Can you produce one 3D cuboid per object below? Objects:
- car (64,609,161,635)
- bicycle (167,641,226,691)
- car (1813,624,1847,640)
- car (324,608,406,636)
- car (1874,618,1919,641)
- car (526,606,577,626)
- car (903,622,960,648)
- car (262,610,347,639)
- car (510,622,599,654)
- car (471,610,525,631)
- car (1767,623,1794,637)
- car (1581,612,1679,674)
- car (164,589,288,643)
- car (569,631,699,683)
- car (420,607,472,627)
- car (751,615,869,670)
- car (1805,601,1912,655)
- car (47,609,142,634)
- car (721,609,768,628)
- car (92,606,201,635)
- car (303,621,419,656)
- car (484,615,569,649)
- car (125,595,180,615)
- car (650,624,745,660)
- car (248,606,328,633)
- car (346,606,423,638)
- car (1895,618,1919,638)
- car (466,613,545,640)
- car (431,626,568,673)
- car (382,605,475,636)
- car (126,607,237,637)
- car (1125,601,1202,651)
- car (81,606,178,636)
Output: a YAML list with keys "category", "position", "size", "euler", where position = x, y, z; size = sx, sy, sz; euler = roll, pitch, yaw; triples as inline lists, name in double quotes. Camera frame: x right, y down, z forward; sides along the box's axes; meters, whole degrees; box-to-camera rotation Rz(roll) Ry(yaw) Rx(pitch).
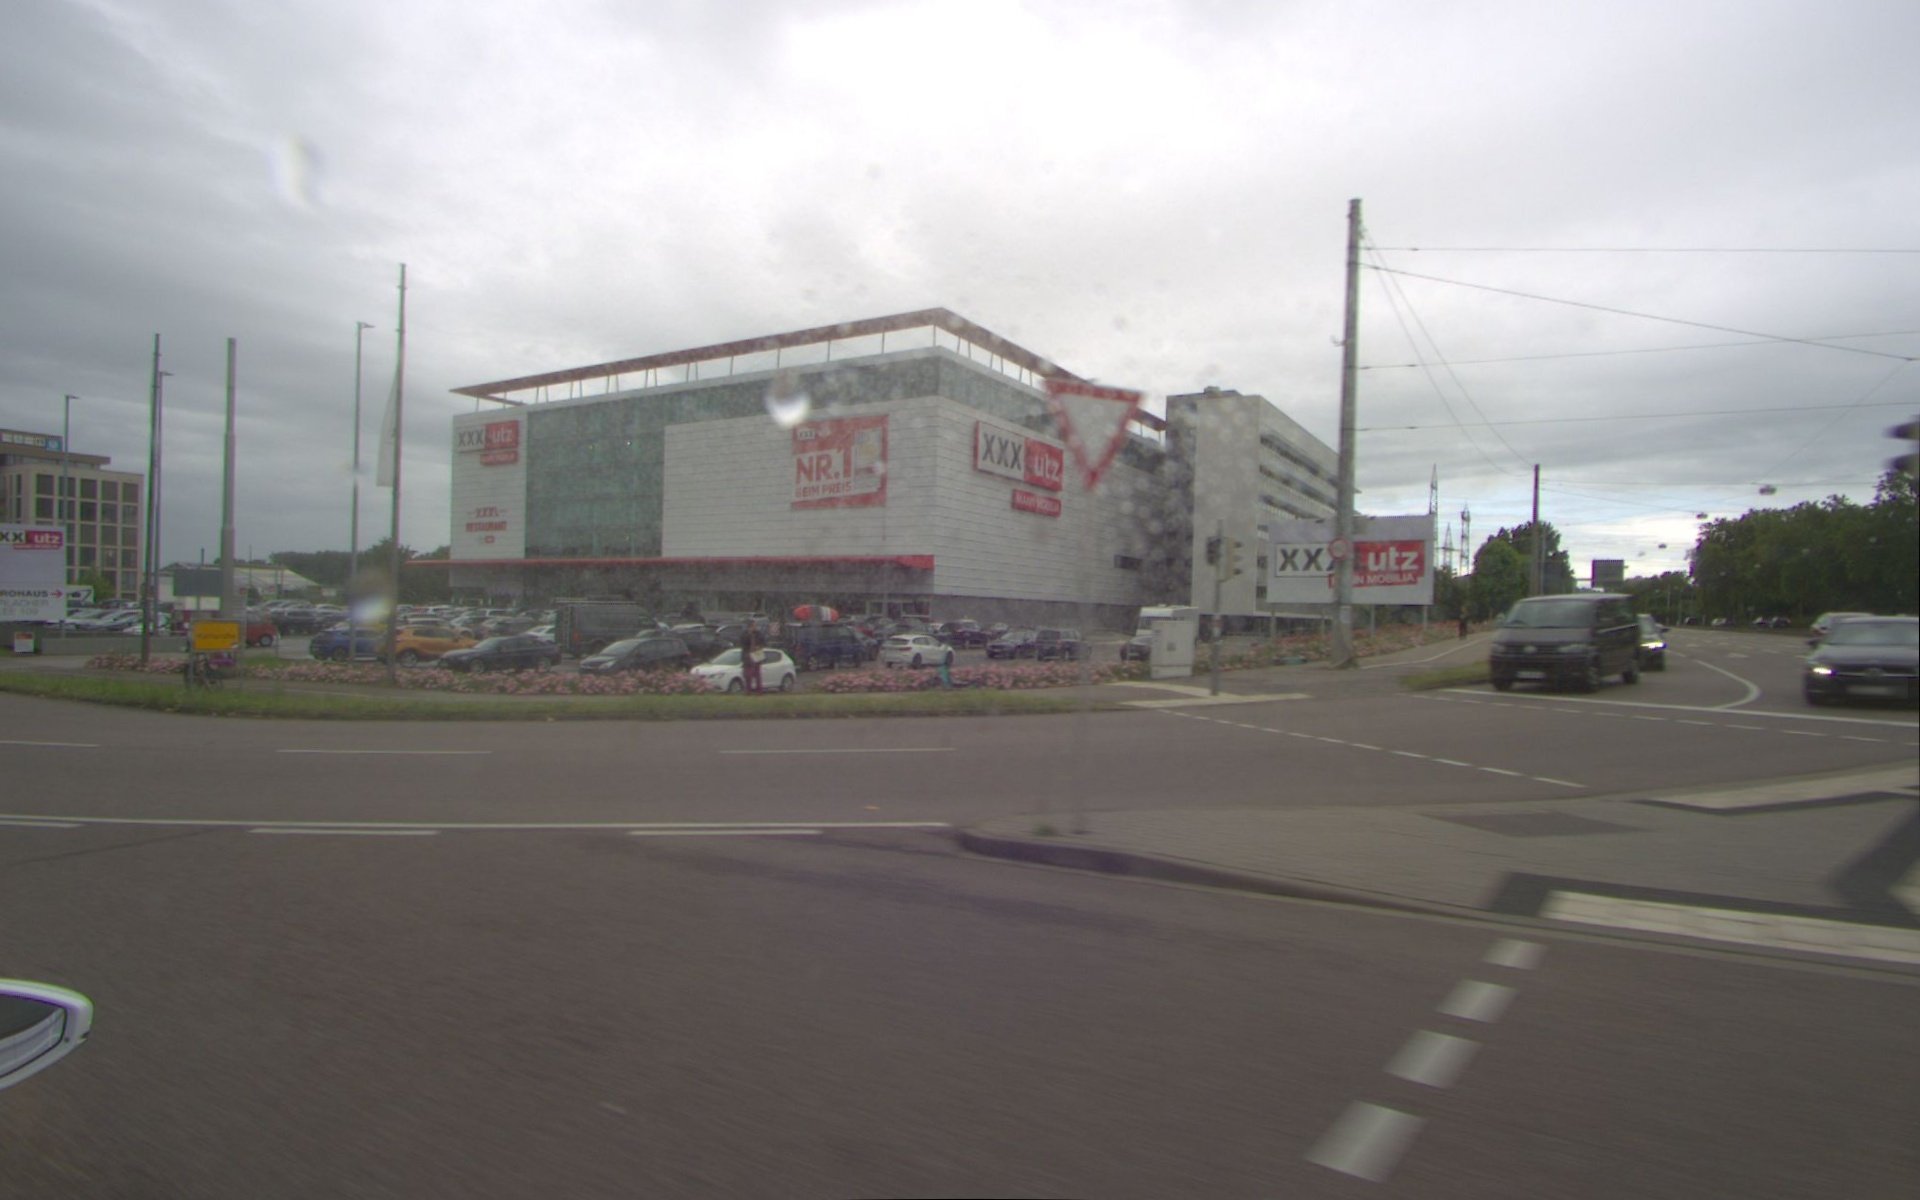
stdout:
- category: "car"
  position: [-50.567, 1.325, 59.787]
  size: [1.807, 1.368, 4.049]
  euler: [3, 0, 31]
- category: "bicycle"
  position: [-17.131, 1.457, 22.463]
  size: [1.671, 1.062, 0.661]
  euler: [-1, -2, 39]
- category: "car"
  position: [89.938, 3.274, 103.521]
  size: [1.792, 1.500, 3.658]
  euler: [3, 0, 28]
- category: "car"
  position: [-37.242, 1.379, 62.744]
  size: [1.852, 1.617, 3.979]
  euler: [3, 0, 33]
- category: "car"
  position: [70.130, 2.192, 74.448]
  size: [1.807, 1.658, 4.306]
  euler: [2, 0, 23]
- category: "car"
  position: [-34.957, 1.354, 85.732]
  size: [1.717, 1.574, 3.765]
  euler: [3, 0, 32]
- category: "car"
  position: [-1.810, 2.251, 64.910]
  size: [1.753, 1.552, 3.977]
  euler: [1, 0, 34]
- category: "car"
  position: [-43.281, 1.621, 66.207]
  size: [1.862, 1.766, 4.302]
  euler: [3, 0, 35]
- category: "car"
  position: [-21.075, 1.966, 52.168]
  size: [1.838, 1.572, 3.979]
  euler: [0, -2, 34]
- category: "car"
  position: [-37.440, 1.671, 81.186]
  size: [1.717, 1.607, 3.559]
  euler: [0, -2, 36]
- category: "car"
  position: [99.563, 3.629, 121.517]
  size: [1.724, 1.450, 3.362]
  euler: [3, 1, 27]
- category: "car"
  position: [18.000, 1.091, 26.820]
  size: [1.943, 1.483, 4.292]
  euler: [1, 0, 37]
- category: "car"
  position: [-38.294, 0.894, 52.370]
  size: [2.139, 2.613, 4.713]
  euler: [3, 0, 34]
- category: "car"
  position: [-11.247, 1.935, 34.774]
  size: [1.744, 1.604, 4.085]
  euler: [2, -1, 32]
- category: "car"
  position: [-43.664, 1.443, 85.072]
  size: [1.717, 1.607, 3.558]
  euler: [0, -2, 36]
- category: "car"
  position: [-6.410, 1.785, 43.318]
  size: [2.095, 2.193, 5.019]
  euler: [0, -1, 37]
- category: "car"
  position: [30.736, 0.941, 34.382]
  size: [1.970, 1.750, 3.981]
  euler: [0, -1, 31]
- category: "car"
  position: [-52.848, 1.333, 61.226]
  size: [1.737, 1.368, 4.049]
  euler: [3, 0, 31]
- category: "car"
  position: [-18.800, 1.630, 87.464]
  size: [1.803, 1.574, 3.788]
  euler: [3, 0, 31]
- category: "car"
  position: [-46.149, 1.191, 56.894]
  size: [1.840, 1.438, 4.457]
  euler: [3, 0, 33]
- category: "car"
  position: [-26.136, 1.671, 43.834]
  size: [1.789, 1.474, 3.979]
  euler: [0, -2, 33]
- category: "car"
  position: [-23.201, 1.681, 53.744]
  size: [1.804, 1.676, 3.885]
  euler: [2, 1, 30]
- category: "car"
  position: [-73.612, 0.499, 91.331]
  size: [1.678, 1.654, 3.622]
  euler: [3, 0, 37]
- category: "car"
  position: [-12.279, 1.966, 46.980]
  size: [1.923, 1.575, 3.973]
  euler: [0, -2, 38]
- category: "car"
  position: [-45.681, 1.355, 68.167]
  size: [1.808, 1.685, 4.162]
  euler: [1, -2, 35]
- category: "car"
  position: [-35.252, 1.380, 61.407]
  size: [1.709, 1.791, 3.729]
  euler: [3, 0, 34]
- category: "car"
  position: [79.961, 2.333, 83.181]
  size: [1.831, 1.582, 4.306]
  euler: [4, 1, 23]
- category: "car"
  position: [-28.501, 1.686, 62.894]
  size: [1.714, 1.488, 4.231]
  euler: [3, 0, 34]
- category: "car"
  position: [-17.604, 1.860, 38.511]
  size: [1.744, 1.604, 4.517]
  euler: [3, 0, 33]
- category: "car"
  position: [-30.906, 1.202, 58.309]
  size: [1.808, 1.604, 4.403]
  euler: [3, 0, 34]
- category: "car"
  position: [-42.425, 1.212, 54.644]
  size: [1.933, 1.480, 4.366]
  euler: [3, 0, 34]
- category: "car"
  position: [13.750, 1.751, 67.191]
  size: [2.727, 3.029, 6.919]
  euler: [3, 0, 31]
- category: "car"
  position: [-48.427, 1.248, 58.459]
  size: [1.738, 1.561, 4.046]
  euler: [3, 0, 34]
